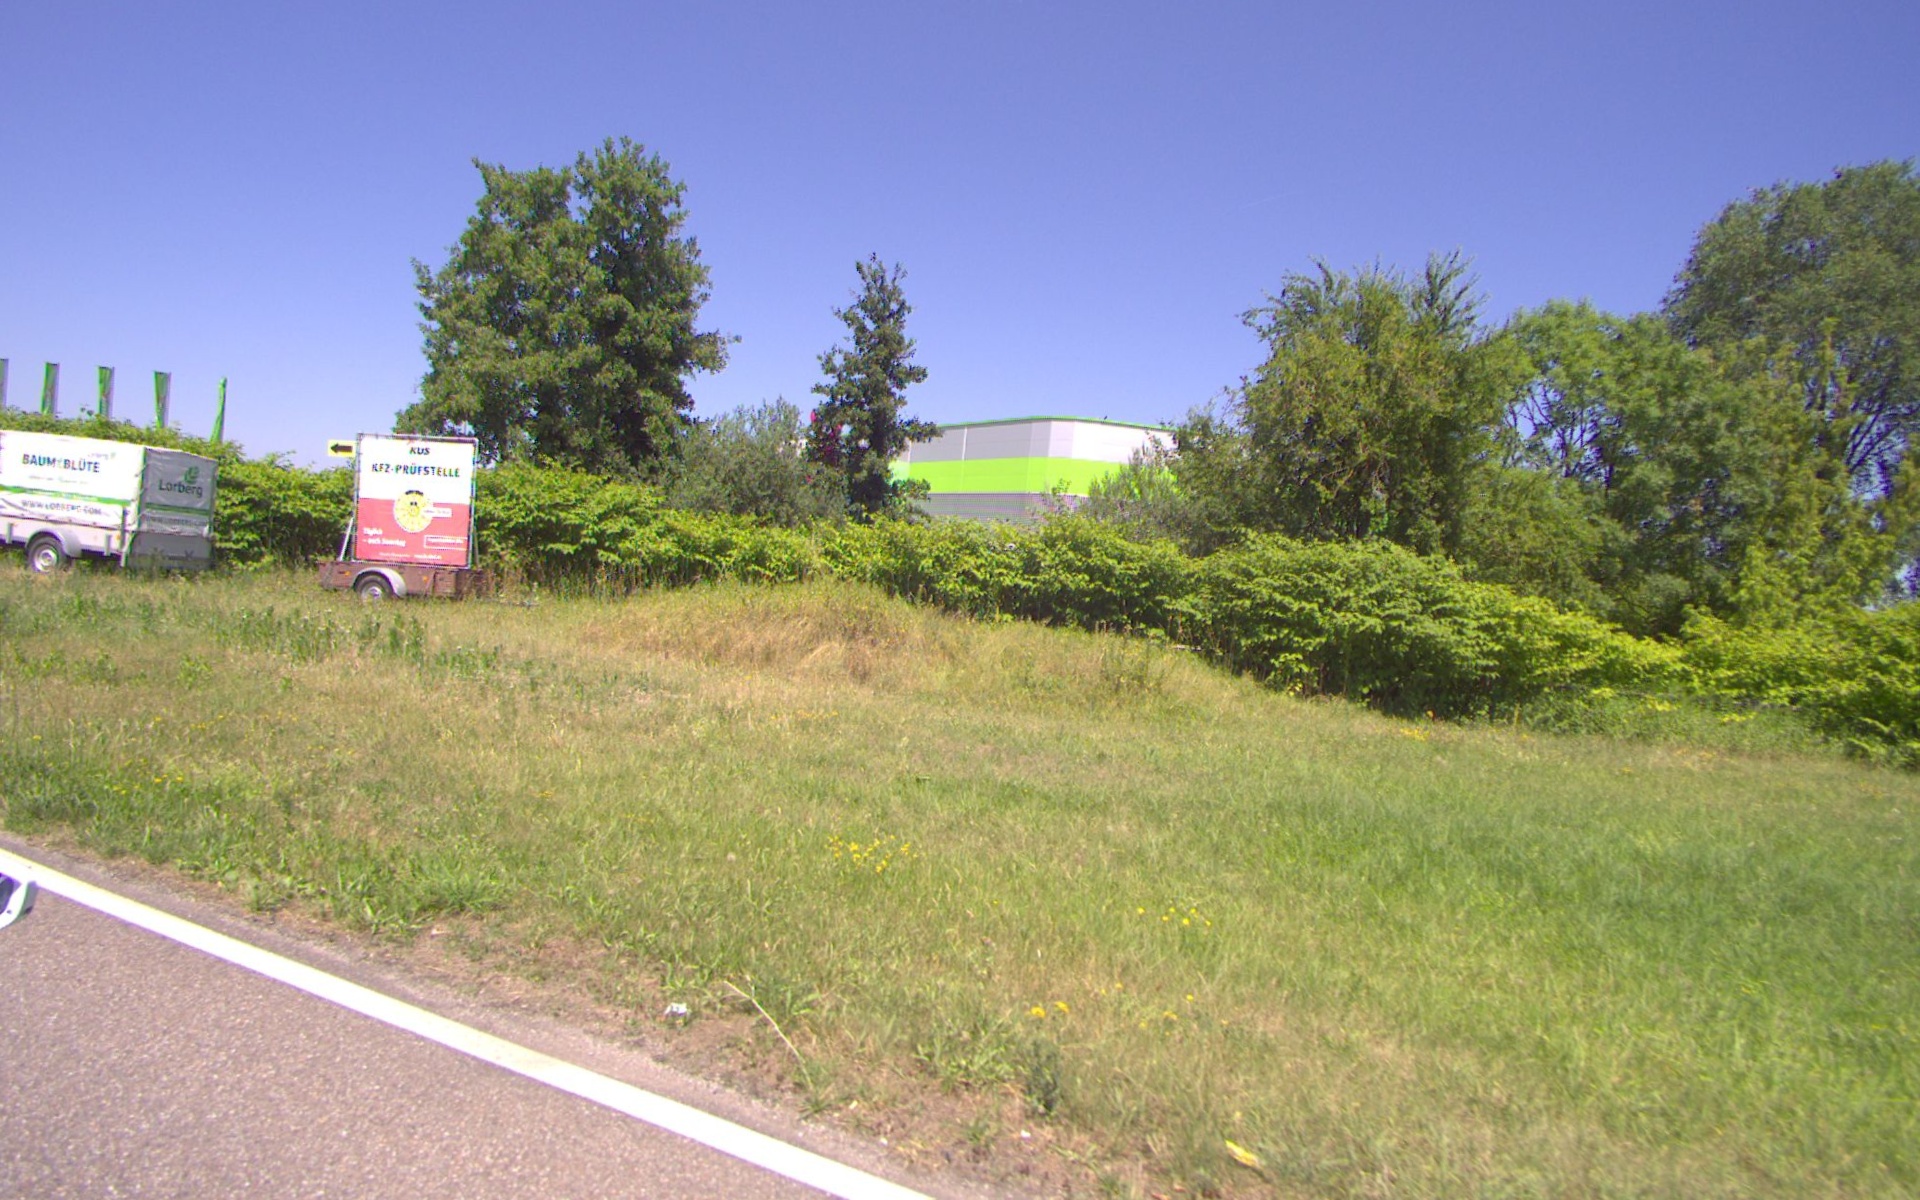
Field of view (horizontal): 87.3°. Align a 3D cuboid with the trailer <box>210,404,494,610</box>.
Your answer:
[{"bbox_3d":[-9.298,-1.350,15.567,3.087,2.704,1.851,6,1,4],"label":"trailer"}]

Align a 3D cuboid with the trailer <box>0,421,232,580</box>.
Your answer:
[{"bbox_3d":[-14.185,-1.596,15.933,3.894,2.104,1.852,6,1,4],"label":"trailer"}]
